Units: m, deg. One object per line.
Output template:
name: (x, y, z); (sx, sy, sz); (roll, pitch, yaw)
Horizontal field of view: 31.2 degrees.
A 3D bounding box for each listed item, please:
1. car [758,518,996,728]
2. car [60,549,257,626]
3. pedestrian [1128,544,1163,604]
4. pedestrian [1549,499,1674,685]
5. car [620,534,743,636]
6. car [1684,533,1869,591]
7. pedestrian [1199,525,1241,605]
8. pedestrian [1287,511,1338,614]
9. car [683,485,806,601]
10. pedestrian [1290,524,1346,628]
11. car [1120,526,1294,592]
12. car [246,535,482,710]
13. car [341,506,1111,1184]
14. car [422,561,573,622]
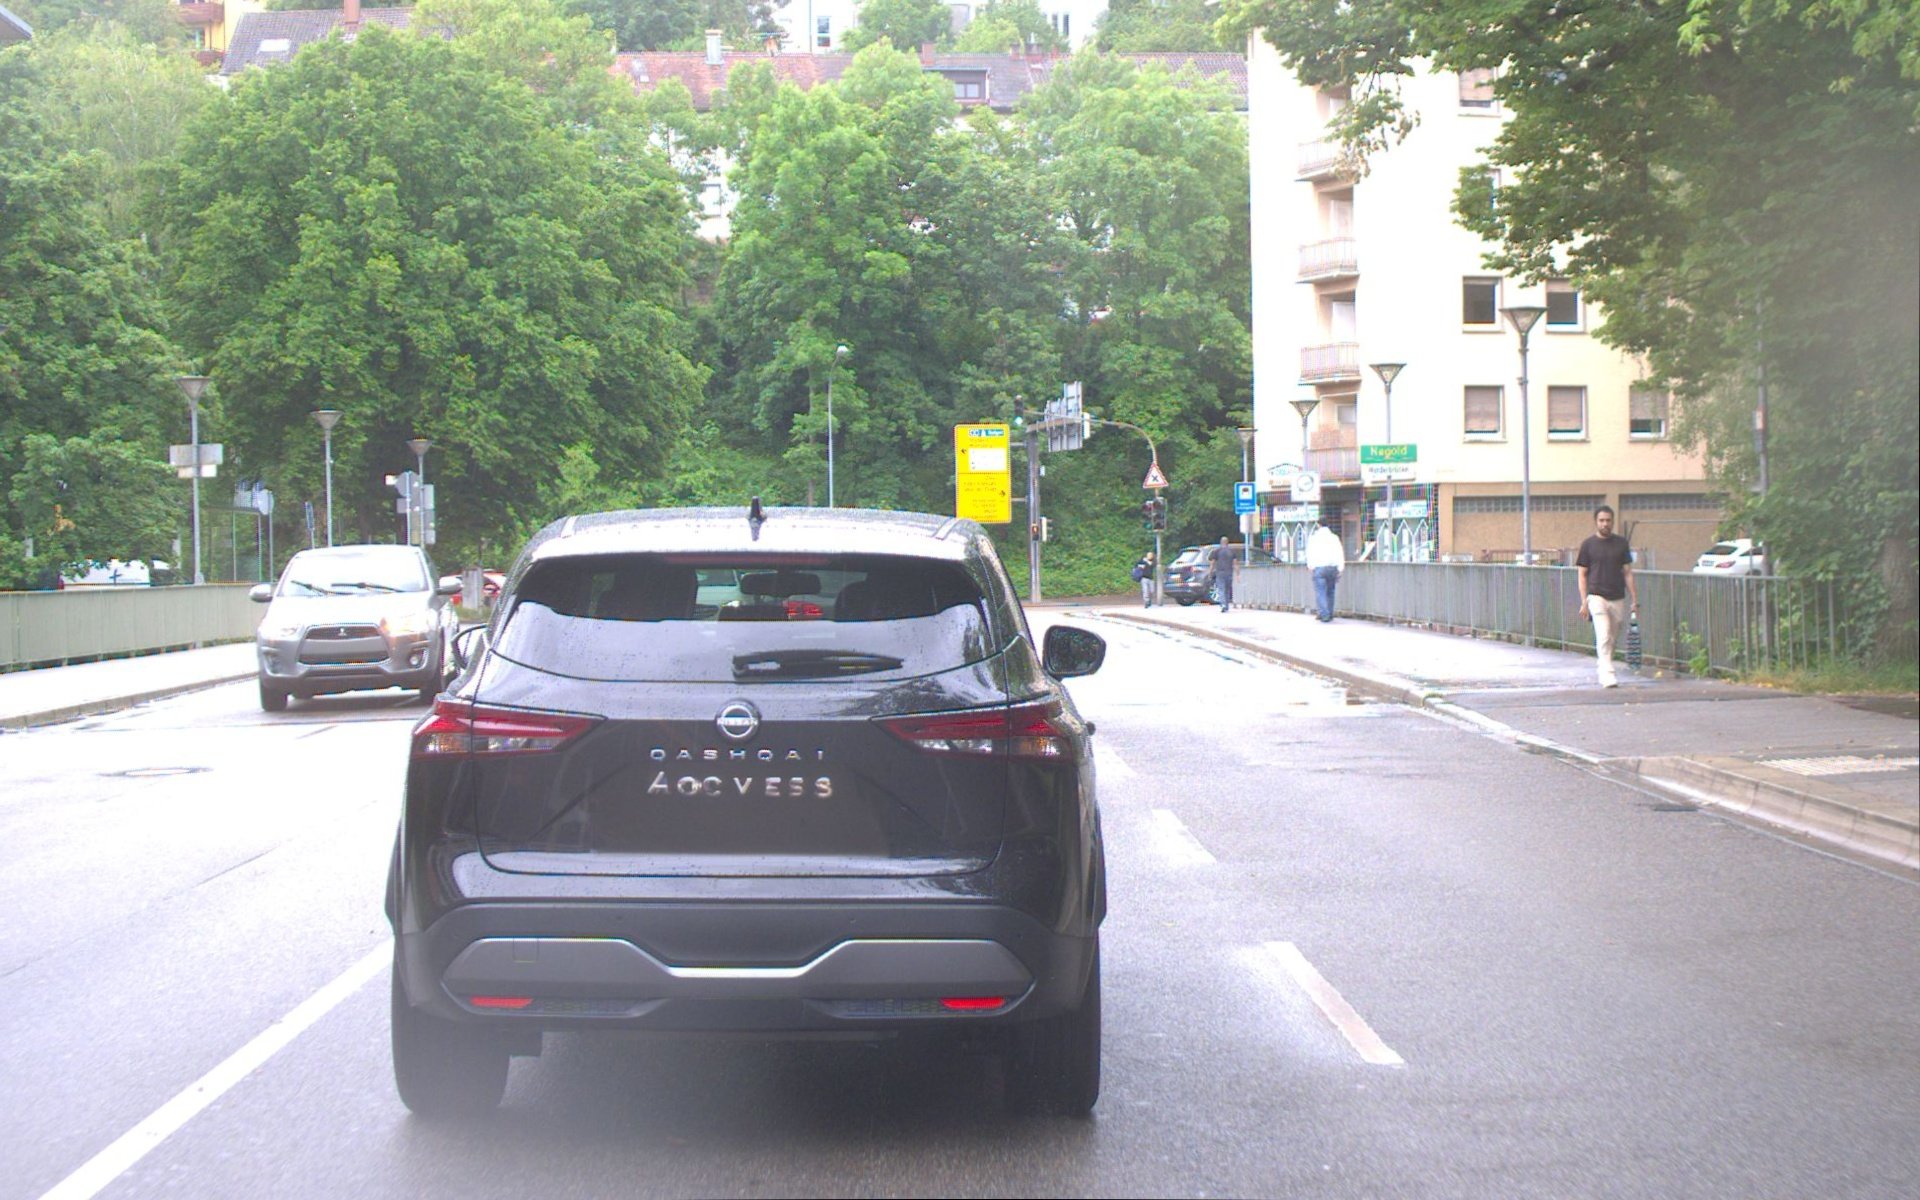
car: (-0.661, 0.140, 28.353); (1.811, 1.597, 4.000); (1, 1, -1)
car: (-20.436, -0.339, 87.820); (4.741, 1.848, 2.001); (-1, 2, -9)
pedestrian: (5.091, -0.728, 94.489); (0.862, 1.613, 0.839); (-2, 0, 0)
pedestrian: (6.096, -0.081, 32.212); (0.847, 1.670, 1.168); (-3, 0, -1)
car: (-4.398, -0.268, 54.781); (1.781, 1.469, 4.167); (-2, 2, -3)
car: (21.580, -1.009, 90.886); (4.438, 1.371, 1.818); (-2, 3, -17)
pedestrian: (5.584, -0.751, 73.954); (0.761, 1.671, 0.781); (-3, 1, 0)
pedestrian: (6.242, -0.666, 60.904); (0.761, 1.802, 0.781); (-2, 1, 0)
car: (-4.581, -1.256, 74.079); (2.289, 2.300, 6.510); (-2, 2, -1)
pedestrian: (6.077, -0.411, 58.387); (0.779, 1.746, 1.061); (-1, 0, -1)
car: (6.832, -1.143, 95.003); (4.366, 1.643, 1.884); (-2, 0, -26)
car: (-5.964, 0.170, 34.831); (1.813, 1.573, 4.232); (-2, 2, -3)
car: (-0.579, 0.541, 10.110); (1.811, 1.597, 4.000); (0, 1, -1)
car: (-14.252, -0.268, 105.931); (4.364, 1.729, 1.891); (-1, 1, 32)
